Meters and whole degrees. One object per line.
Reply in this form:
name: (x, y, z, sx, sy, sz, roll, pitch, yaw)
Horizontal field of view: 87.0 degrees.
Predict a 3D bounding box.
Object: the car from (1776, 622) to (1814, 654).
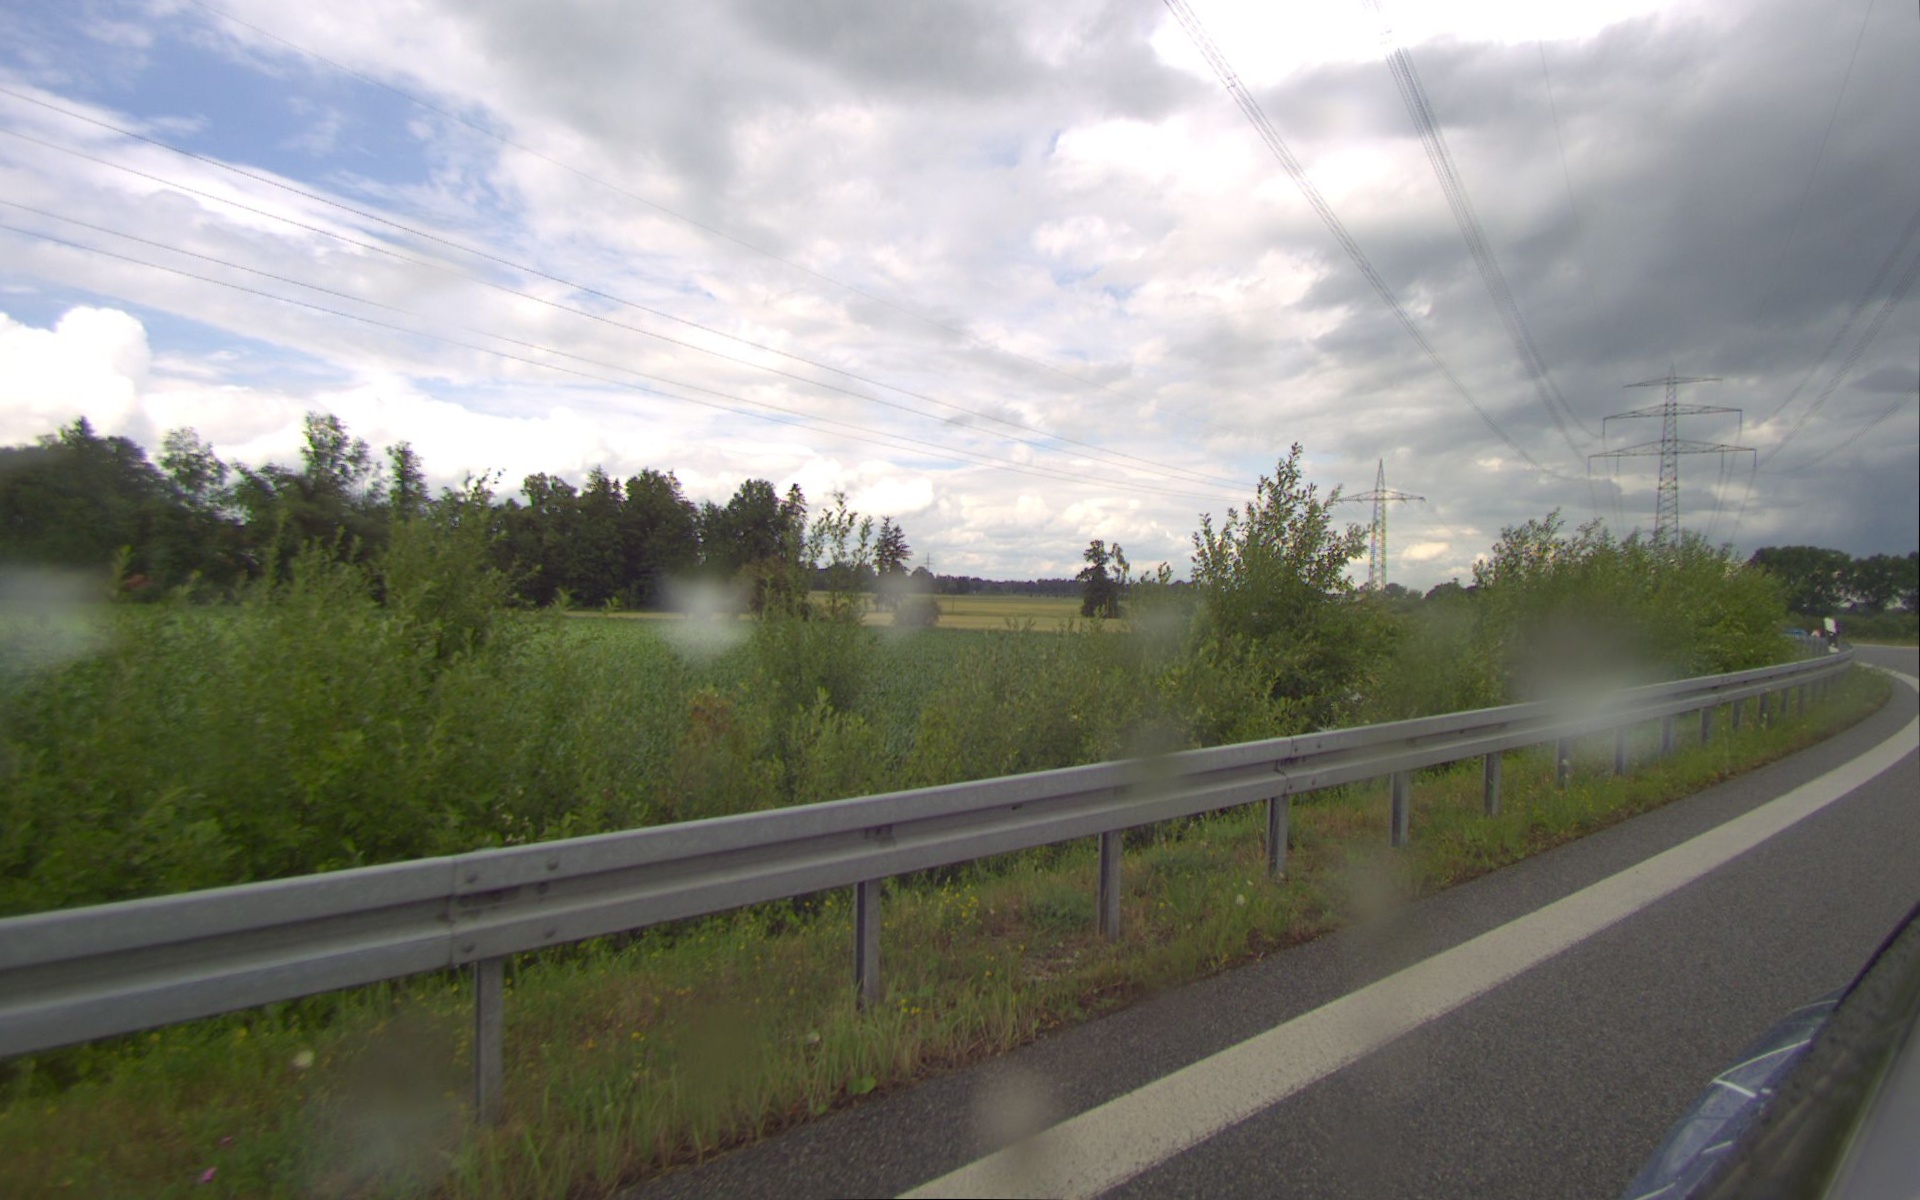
car: (76.549, 3.467, 92.877, 2.320, 2.760, 6.198, 2, -1, 37)
